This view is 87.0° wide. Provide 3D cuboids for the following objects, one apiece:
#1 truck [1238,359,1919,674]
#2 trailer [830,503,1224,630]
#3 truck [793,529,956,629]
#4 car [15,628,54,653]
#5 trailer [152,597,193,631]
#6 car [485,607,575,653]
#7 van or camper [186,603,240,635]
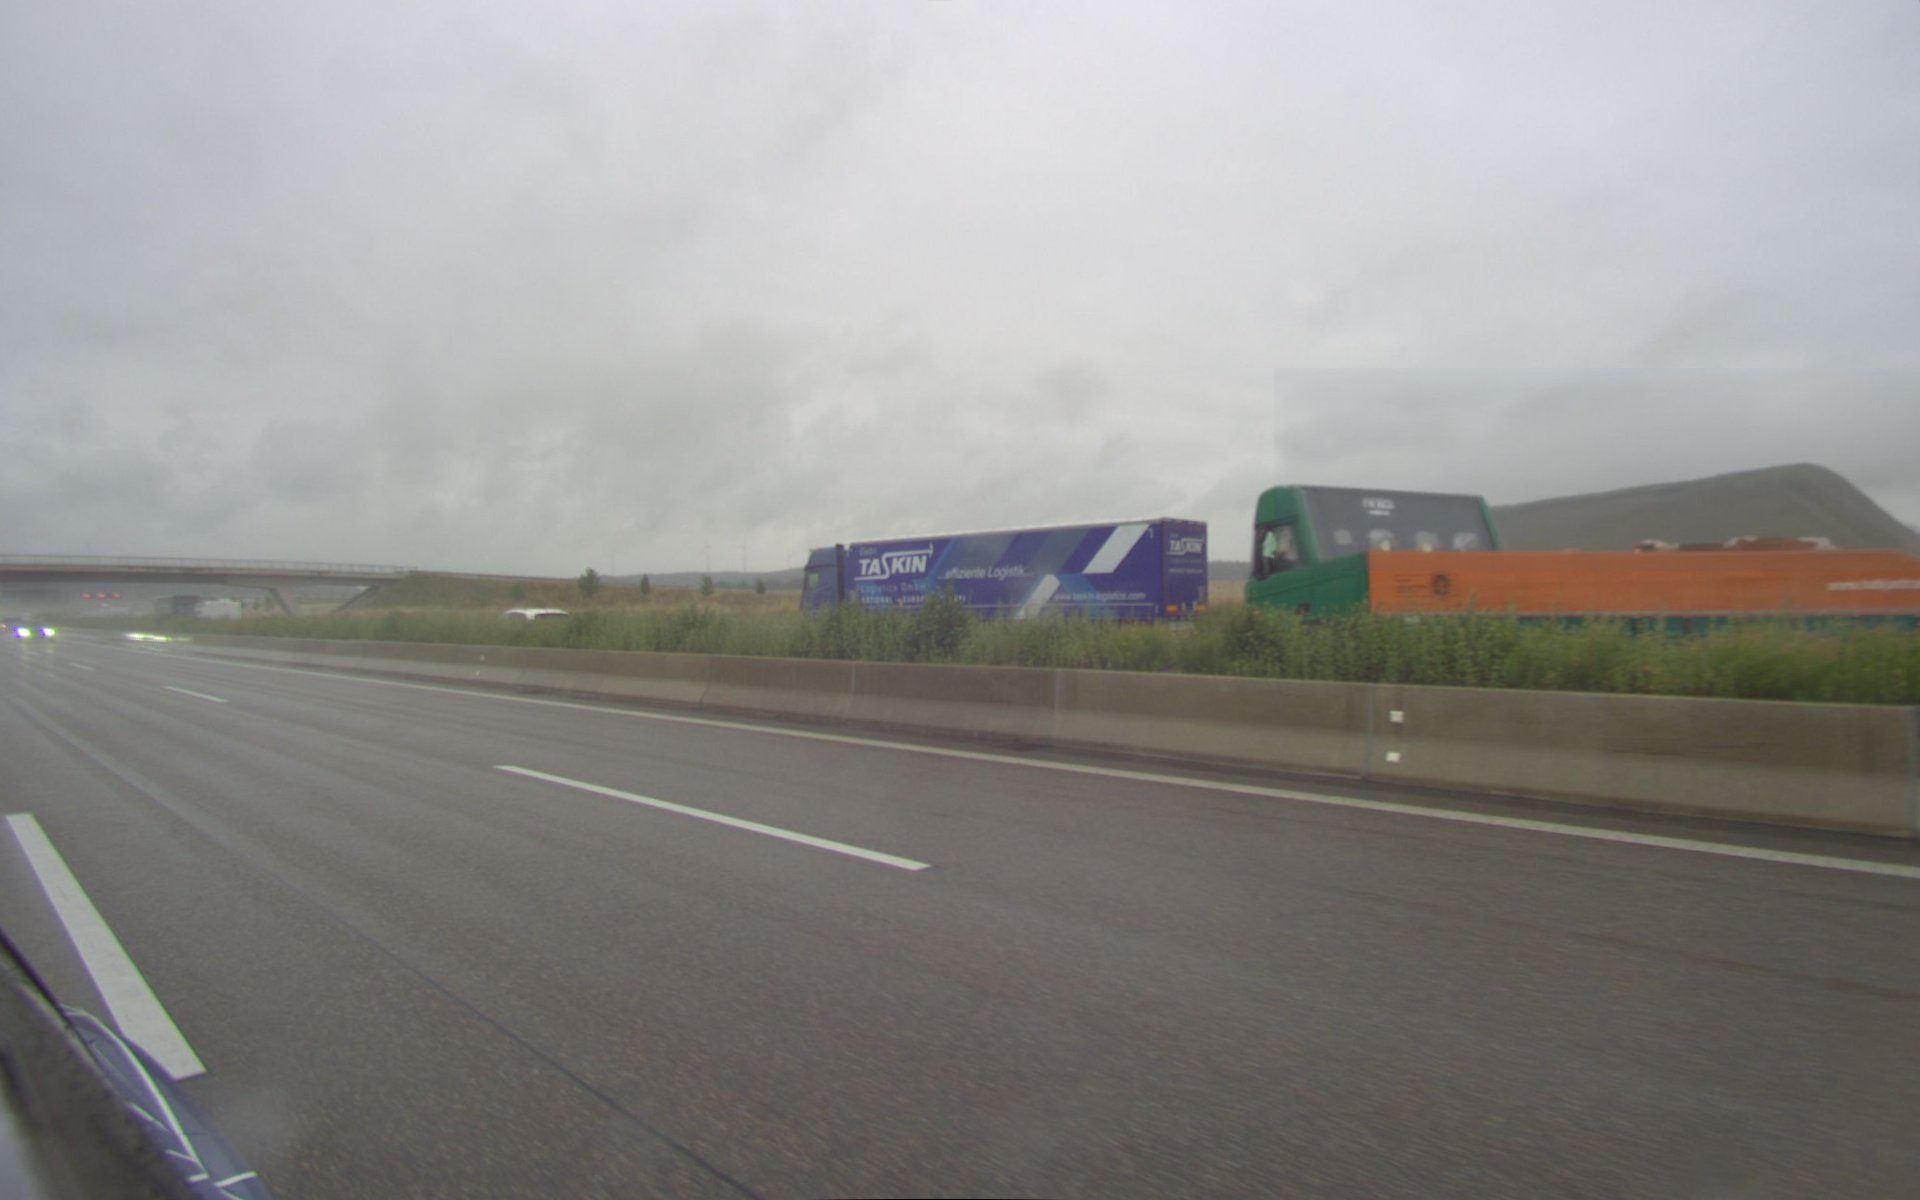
[{"bbox_3d":[9.401,-0.844,14.502,10.130,3.467,3.230,-2,-2,43],"label":"truck"},{"bbox_3d":[1.489,-0.760,33.362,14.234,3.444,3.080,-2,-2,43],"label":"trailer"},{"bbox_3d":[-3.247,-0.655,37.767,5.685,3.448,3.065,-2,-2,43],"label":"truck"},{"bbox_3d":[-63.004,2.755,68.862,3.734,1.564,1.678,-1,0,43],"label":"car"},{"bbox_3d":[-96.956,1.750,124.541,14.213,4.027,2.199,-1,-2,45],"label":"trailer"},{"bbox_3d":[-13.411,0.914,31.519,3.088,1.361,1.381,-1,0,41],"label":"car"},{"bbox_3d":[-61.966,1.620,83.921,6.755,2.527,2.348,-2,-1,43],"label":"van or camper"}]
